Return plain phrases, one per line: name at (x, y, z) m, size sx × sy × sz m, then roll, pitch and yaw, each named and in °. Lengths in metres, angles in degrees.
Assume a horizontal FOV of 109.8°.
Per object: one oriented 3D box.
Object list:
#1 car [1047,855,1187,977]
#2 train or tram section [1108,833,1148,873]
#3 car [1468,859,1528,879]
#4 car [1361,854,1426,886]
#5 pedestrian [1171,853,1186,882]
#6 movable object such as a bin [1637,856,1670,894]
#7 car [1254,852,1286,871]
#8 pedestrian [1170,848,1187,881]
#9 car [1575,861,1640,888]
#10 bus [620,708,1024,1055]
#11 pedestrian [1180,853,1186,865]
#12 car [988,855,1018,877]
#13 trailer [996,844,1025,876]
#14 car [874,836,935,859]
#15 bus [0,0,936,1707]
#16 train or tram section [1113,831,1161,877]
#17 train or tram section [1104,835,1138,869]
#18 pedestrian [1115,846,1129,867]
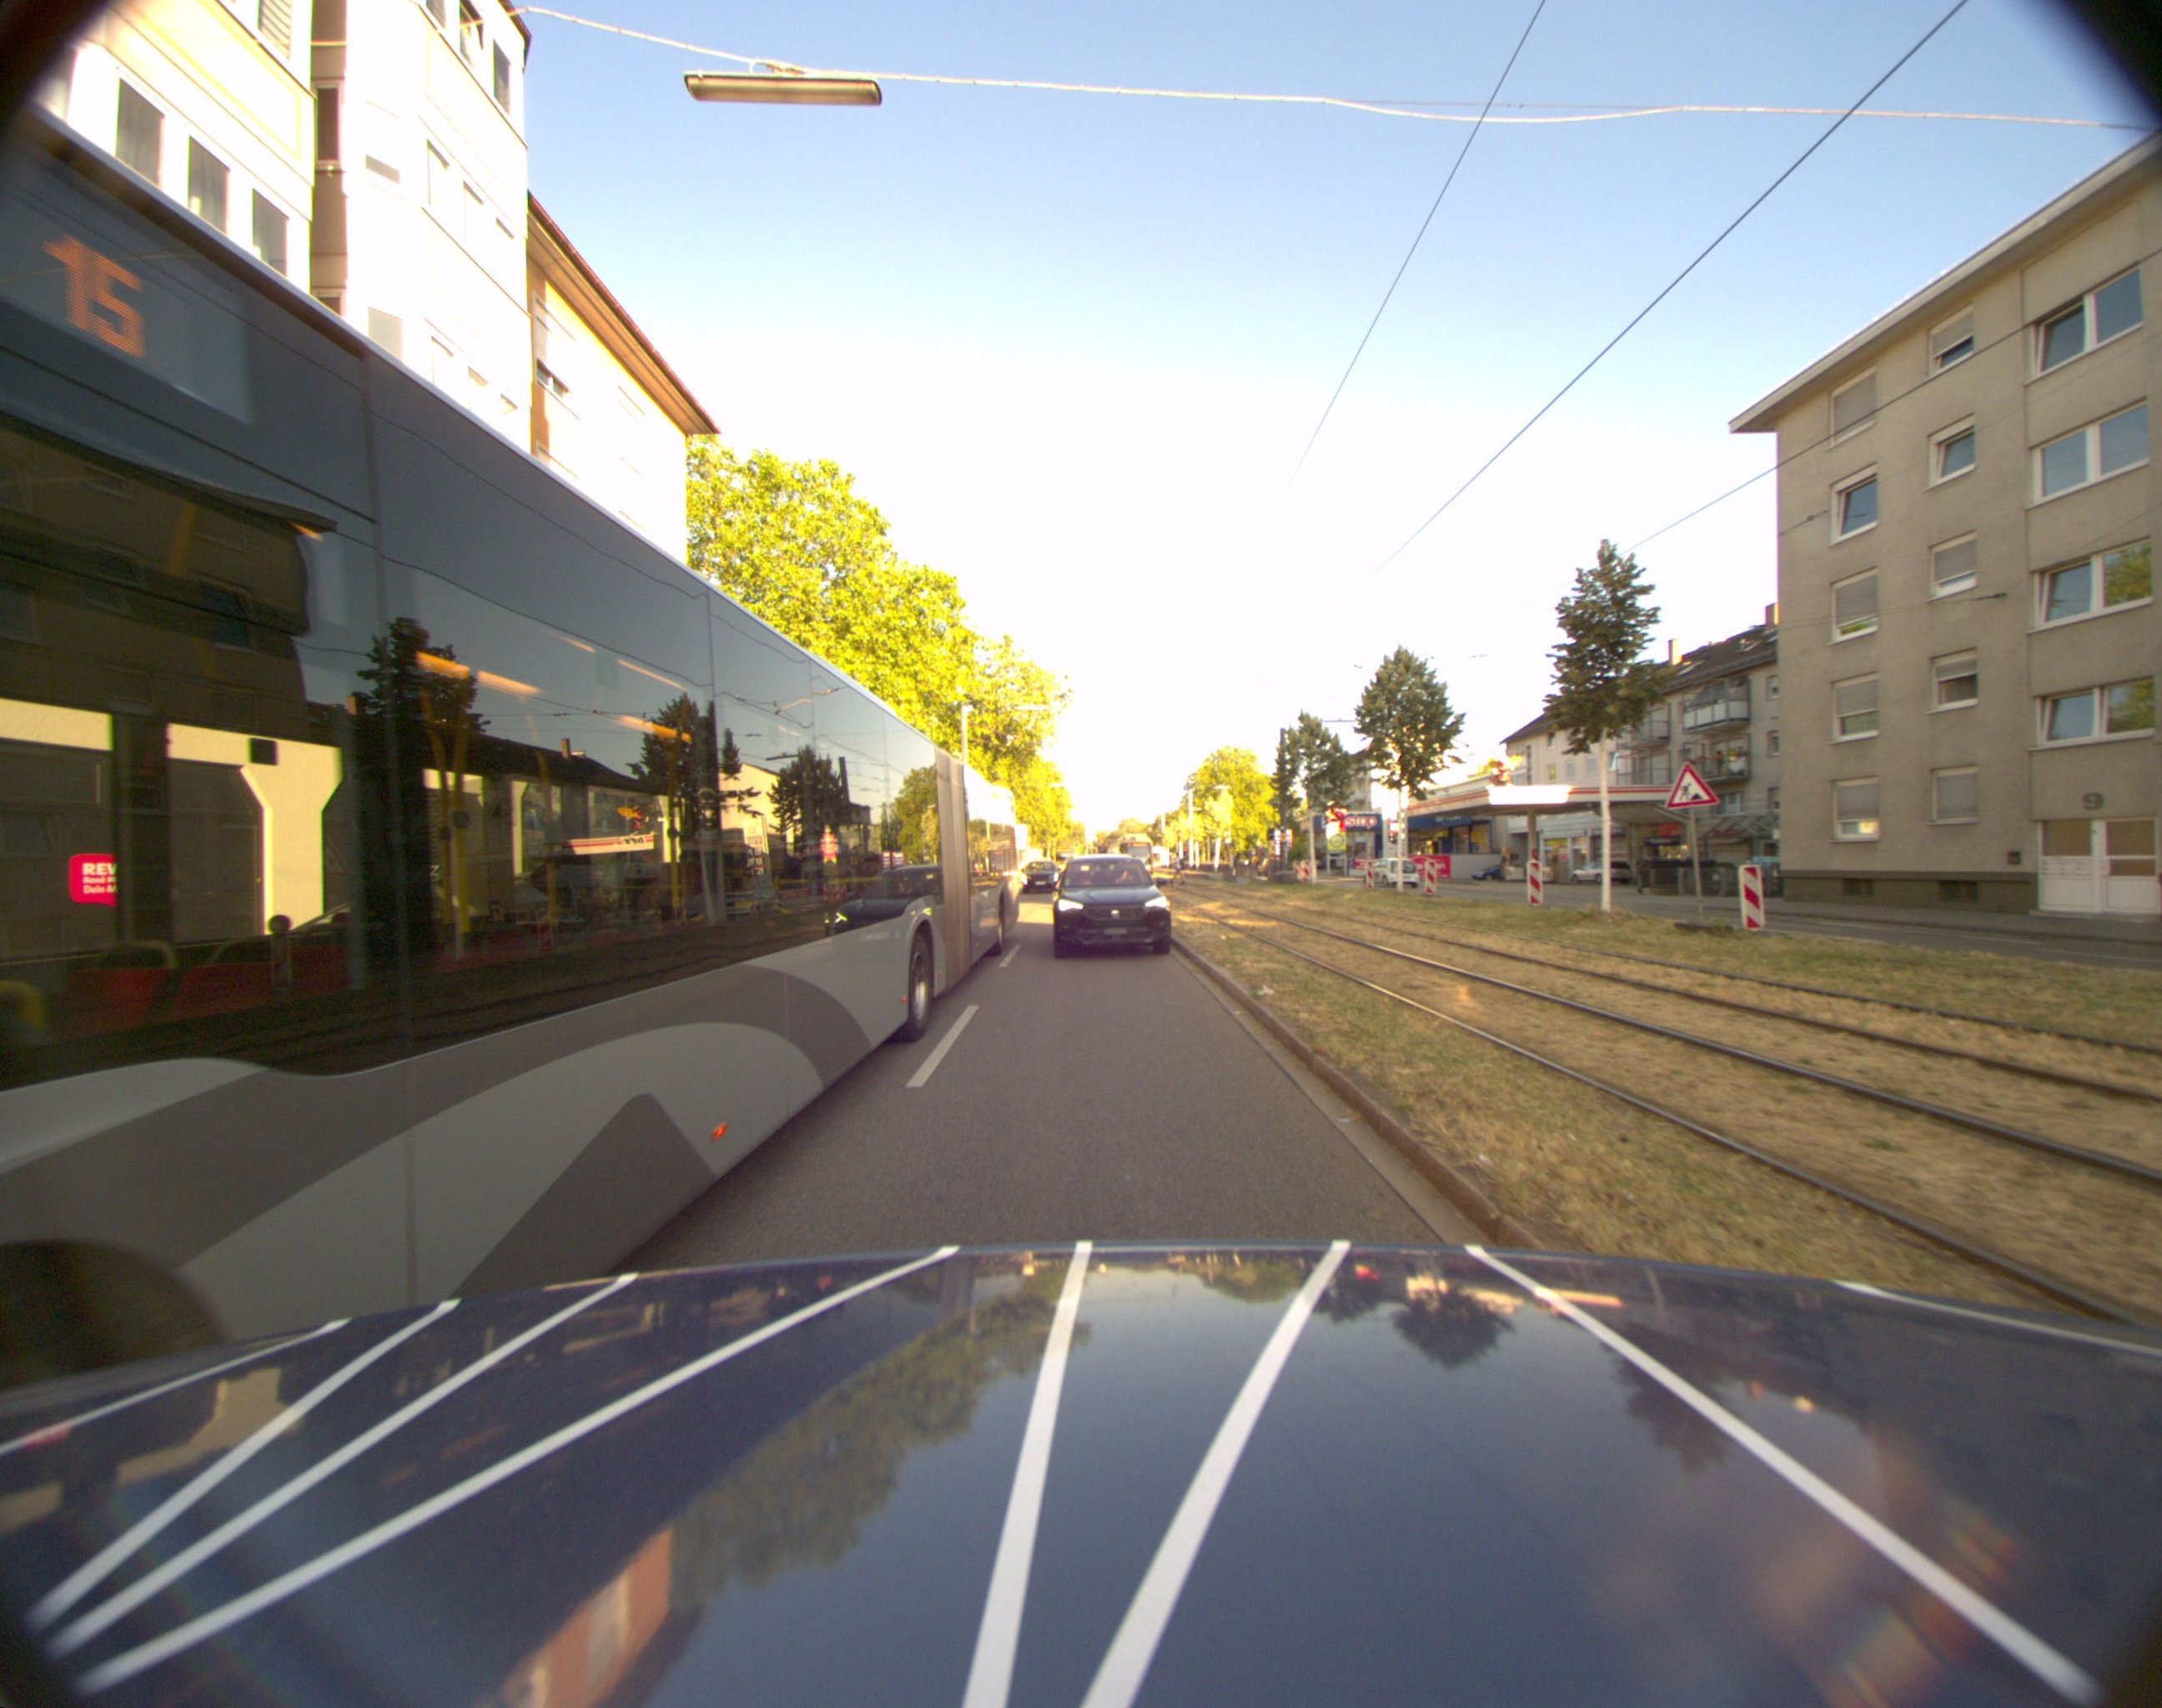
car at (0.422, 0.882, 12.741) m, size 1.911 × 1.606 × 4.084 m, roll -3°, pitch 0°, yaw -3°
train or tram section at (4.379, -0.119, 73.128) m, size 3.043 × 3.497 × 10.095 m, roll 0°, pitch 0°, yaw -1°
car at (33.101, 1.179, 60.356) m, size 3.803 × 1.514 × 1.818 m, roll -1°, pitch 0°, yaw 4°
car at (15.920, 0.780, 38.924) m, size 1.816 × 1.503 × 3.829 m, roll 0°, pitch 0°, yaw 1°
pedestrian at (5.865, 0.804, 45.806) m, size 0.755 × 1.737 × 0.860 m, roll -1°, pitch 0°, yaw -3°
movable object such as a bin at (21.383, 0.771, 28.376) m, size 0.665 × 1.392 × 0.749 m, roll 0°, pitch 0°, yaw -1°
car at (16.302, 0.648, 65.733) m, size 1.816 × 1.551 × 4.935 m, roll -1°, pitch 1°, yaw 3°
pedestrian at (5.775, 0.599, 44.923) m, size 0.860 × 1.921 × 0.755 m, roll -1°, pitch 0°, yaw -2°
car at (33.918, 1.315, 49.088) m, size 1.815 × 1.514 × 3.830 m, roll -2°, pitch 1°, yaw 6°
bus at (-2.681, 0.268, 11.305) m, size 2.745 × 3.038 × 8.854 m, roll -2°, pitch 0°, yaw 1°
pedestrian at (17.532, 0.840, 130.359) m, size 0.755 × 1.871 × 1.000 m, roll -4°, pitch 0°, yaw -1°
car at (-5.881, 0.887, 57.718) m, size 1.800 × 1.621 × 4.000 m, roll 0°, pitch 0°, yaw 1°
trailer at (-5.939, 0.481, 64.310) m, size 1.890 × 2.573 × 4.651 m, roll -1°, pitch 0°, yaw 1°
car at (-13.445, -0.509, 57.969) m, size 4.122 × 1.541 × 1.803 m, roll -3°, pitch 0°, yaw 2°
bus at (-2.806, 0.245, 2.327) m, size 2.745 × 3.038 × 9.131 m, roll -2°, pitch 0°, yaw 1°
train or tram section at (4.493, -0.033, 63.055) m, size 3.043 × 3.497 × 10.095 m, roll 0°, pitch 0°, yaw -1°
train or tram section at (4.295, -0.200, 83.238) m, size 3.043 × 3.497 × 10.095 m, roll 0°, pitch 0°, yaw -1°
pedestrian at (3.204, 0.191, 59.400) m, size 0.918 × 1.541 × 0.789 m, roll -2°, pitch 1°, yaw -8°
